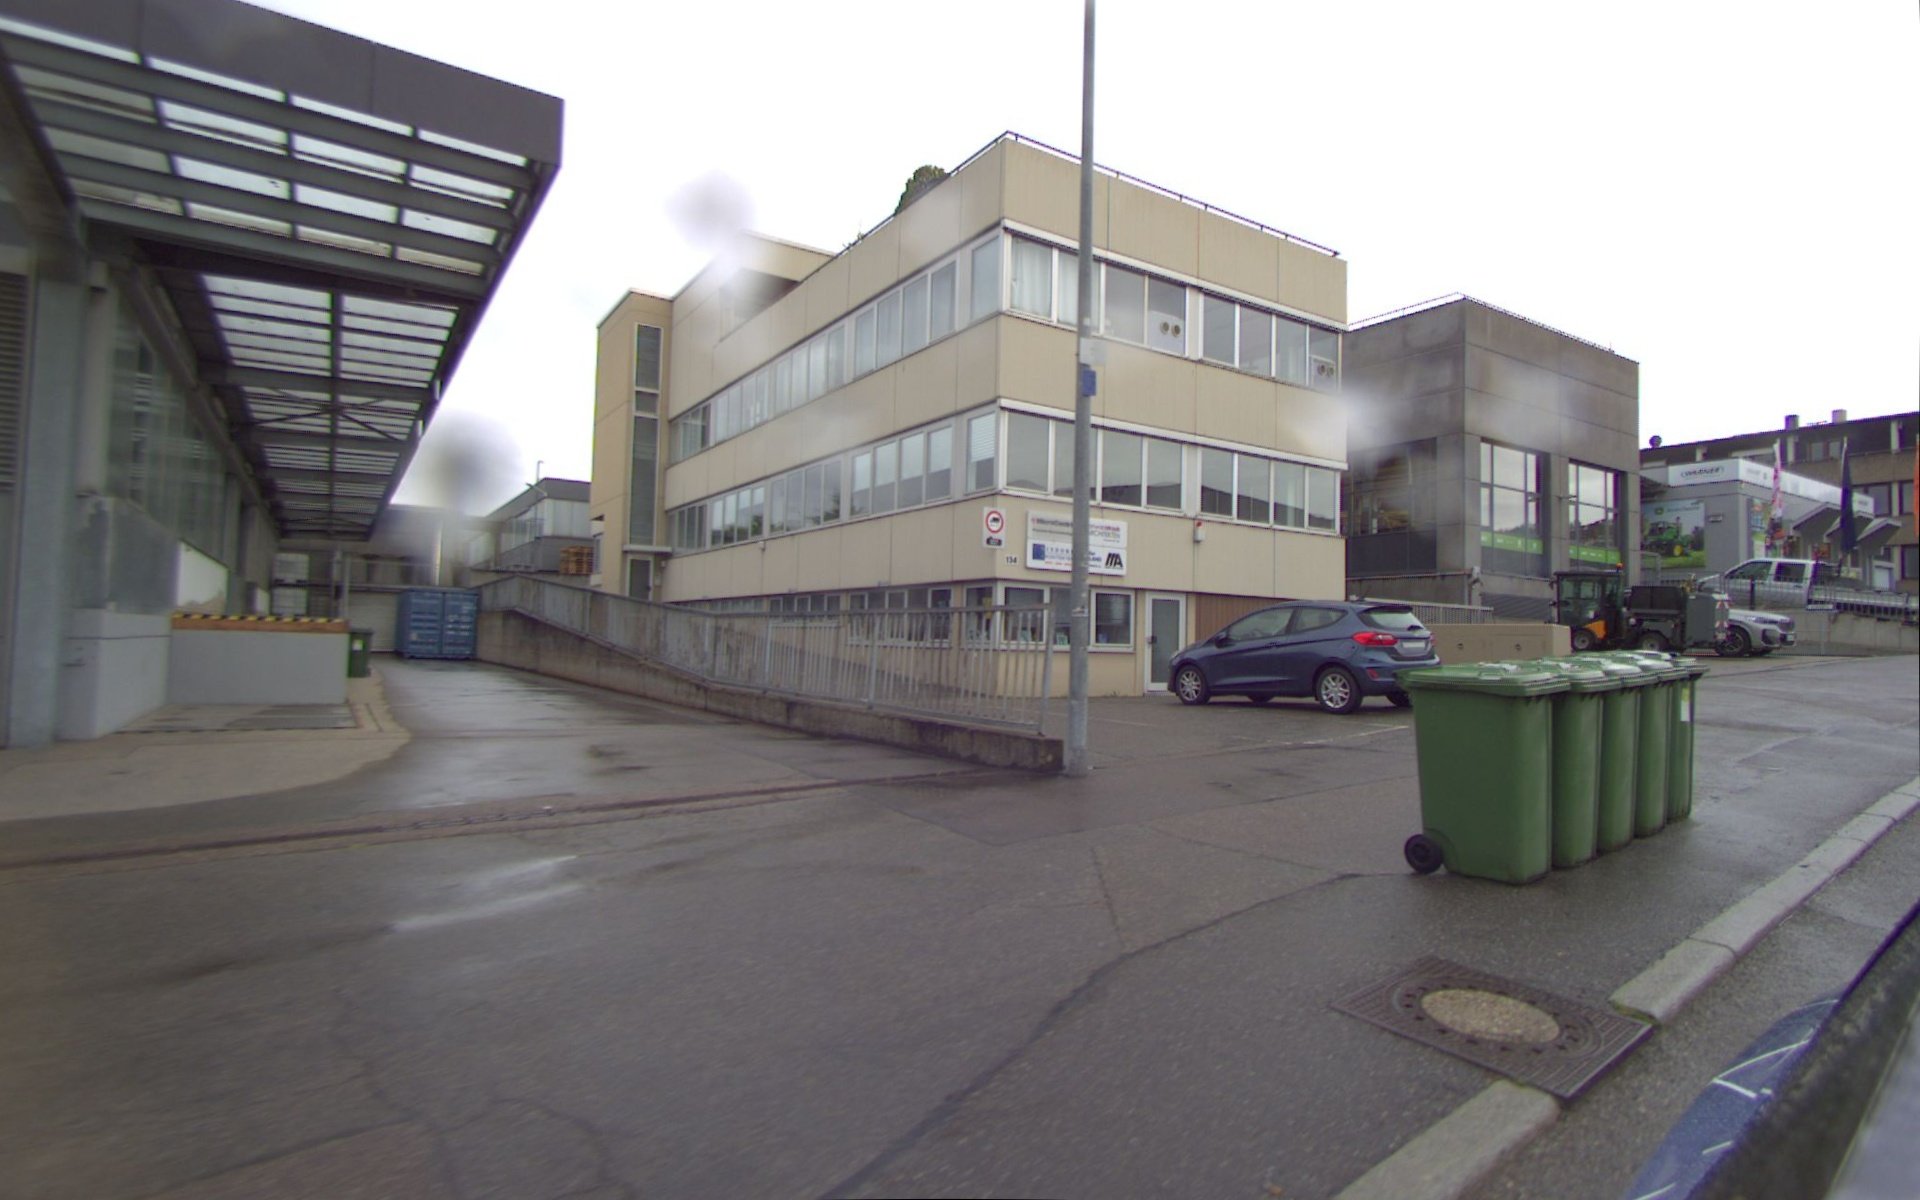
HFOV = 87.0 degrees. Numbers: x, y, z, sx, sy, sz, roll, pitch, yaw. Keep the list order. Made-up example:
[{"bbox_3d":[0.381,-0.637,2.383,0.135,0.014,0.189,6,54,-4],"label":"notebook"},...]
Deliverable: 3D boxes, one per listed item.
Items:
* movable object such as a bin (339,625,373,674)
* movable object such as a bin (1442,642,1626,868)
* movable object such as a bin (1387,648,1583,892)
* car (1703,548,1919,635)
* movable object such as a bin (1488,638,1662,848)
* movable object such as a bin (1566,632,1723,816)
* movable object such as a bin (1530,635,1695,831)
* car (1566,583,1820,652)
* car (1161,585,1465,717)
[{"bbox_3d":[-12.789,1.034,21.413,0.565,1.003,0.556,2,-2,-33],"label":"movable object such as a bin"},{"bbox_3d":[3.192,0.812,5.643,0.583,1.104,0.735,0,0,-39],"label":"movable object such as a bin"},{"bbox_3d":[2.721,0.827,5.263,0.583,1.104,0.735,0,0,-39],"label":"movable object such as a bin"},{"bbox_3d":[25.255,-0.242,29.679,2.159,2.323,5.160,0,0,-31],"label":"car"},{"bbox_3d":[3.651,0.803,6.020,0.583,1.104,0.735,0,0,-39],"label":"movable object such as a bin"},{"bbox_3d":[4.579,0.788,6.778,0.583,1.104,0.735,0,0,-39],"label":"movable object such as a bin"},{"bbox_3d":[4.114,0.793,6.394,0.583,1.104,0.735,0,0,-39],"label":"movable object such as a bin"},{"bbox_3d":[17.551,0.359,24.474,1.903,1.516,4.627,0,1,-33],"label":"car"},{"bbox_3d":[4.724,0.602,14.004,1.600,1.559,3.751,0,0,-35],"label":"car"}]
